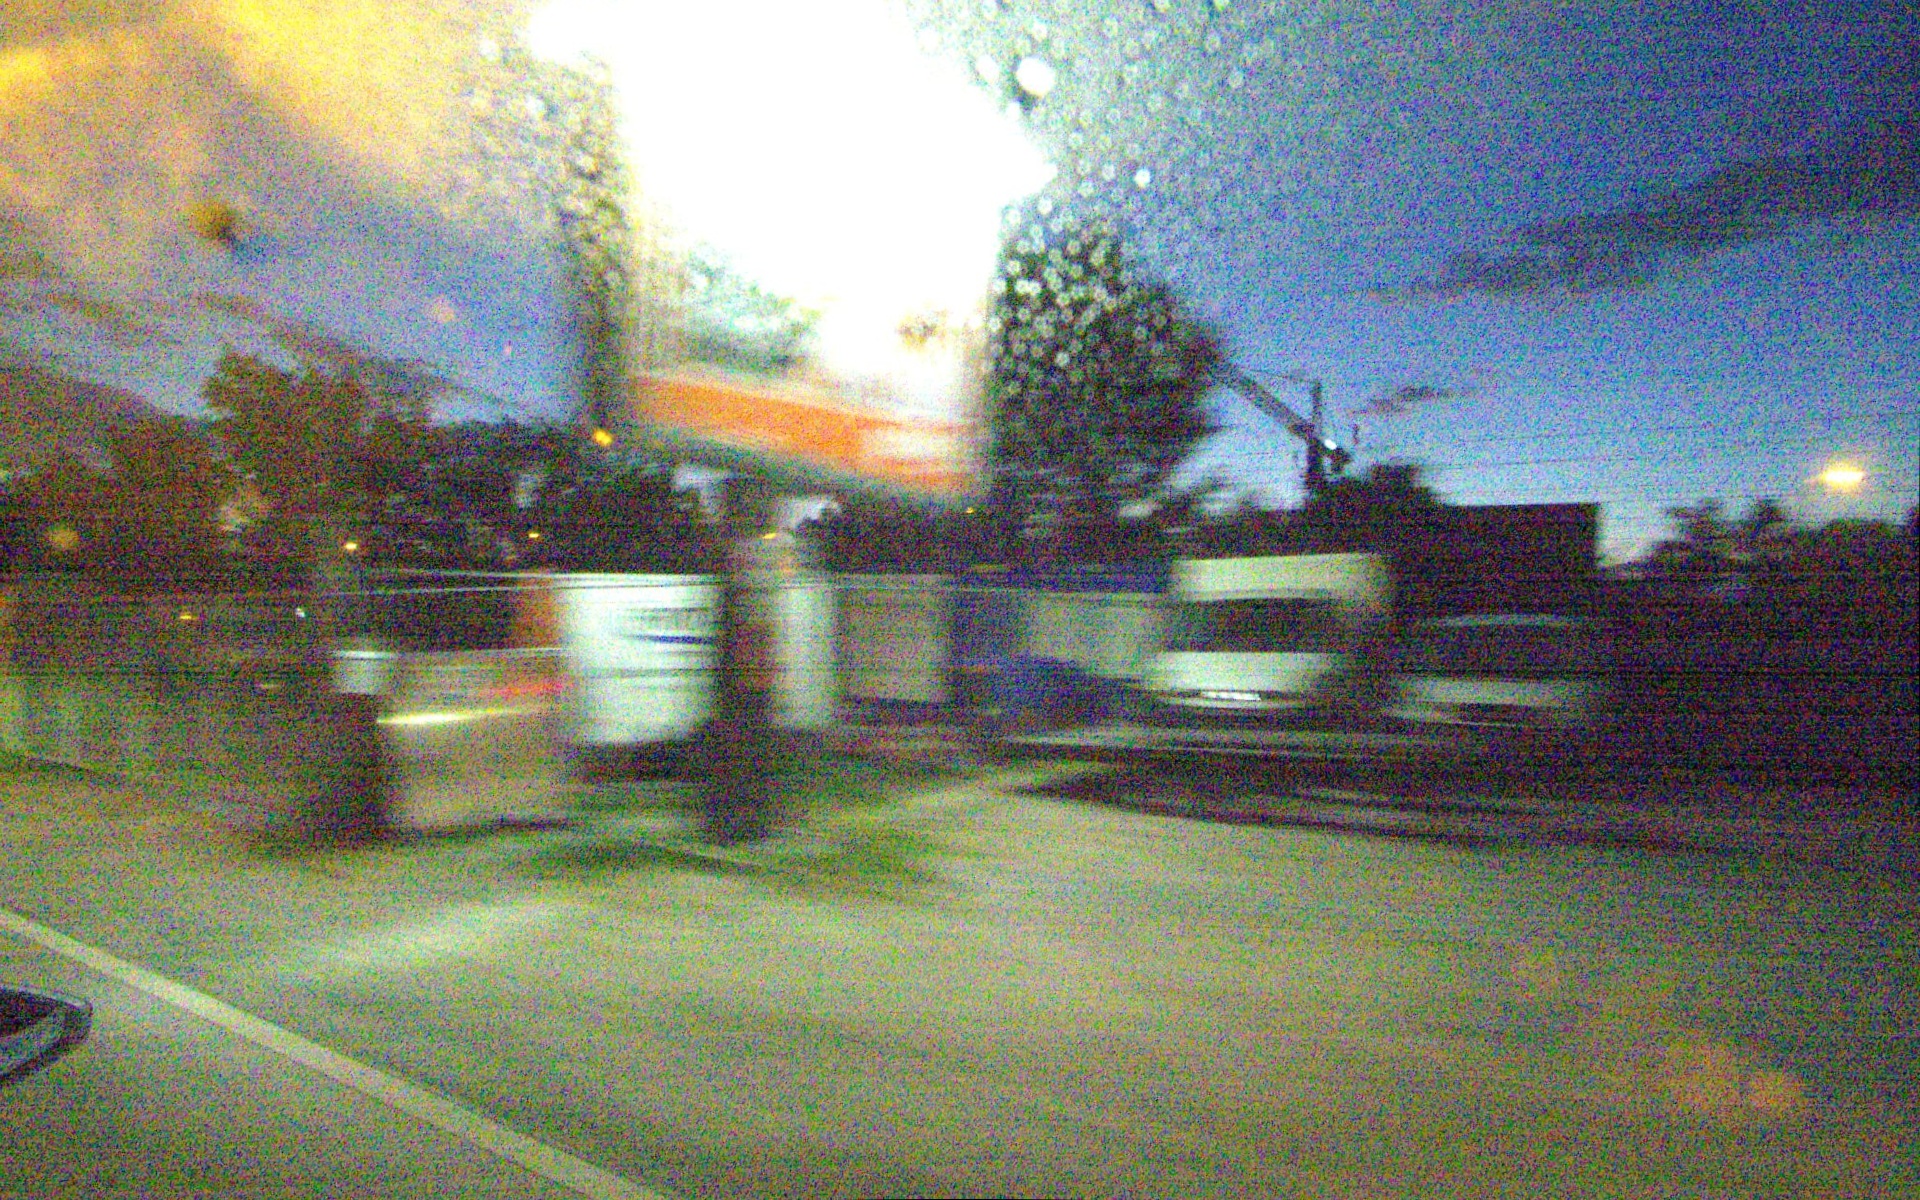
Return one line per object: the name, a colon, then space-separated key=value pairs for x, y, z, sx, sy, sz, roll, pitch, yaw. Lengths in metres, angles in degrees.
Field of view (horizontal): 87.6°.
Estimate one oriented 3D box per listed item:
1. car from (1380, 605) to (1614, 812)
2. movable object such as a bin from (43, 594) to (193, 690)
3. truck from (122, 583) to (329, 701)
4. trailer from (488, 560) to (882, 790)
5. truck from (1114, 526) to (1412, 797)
car: x=6.467 y=1.113 z=11.710 sx=1.961 sy=1.859 sz=5.064 roll=-1 pitch=-3 yaw=34
movable object such as a bin: x=-25.758 y=1.282 z=30.642 sx=3.807 sy=2.758 sz=2.226 roll=0 pitch=-3 yaw=30
truck: x=-19.677 y=1.109 z=26.672 sx=7.217 sy=2.782 sz=2.179 roll=-1 pitch=-3 yaw=35
trailer: x=-2.839 y=0.717 z=10.623 sx=3.711 sy=2.040 sz=1.603 roll=1 pitch=-1 yaw=-35
truck: x=4.129 y=0.744 z=12.765 sx=2.435 sy=2.632 sz=5.526 roll=0 pitch=-3 yaw=30
